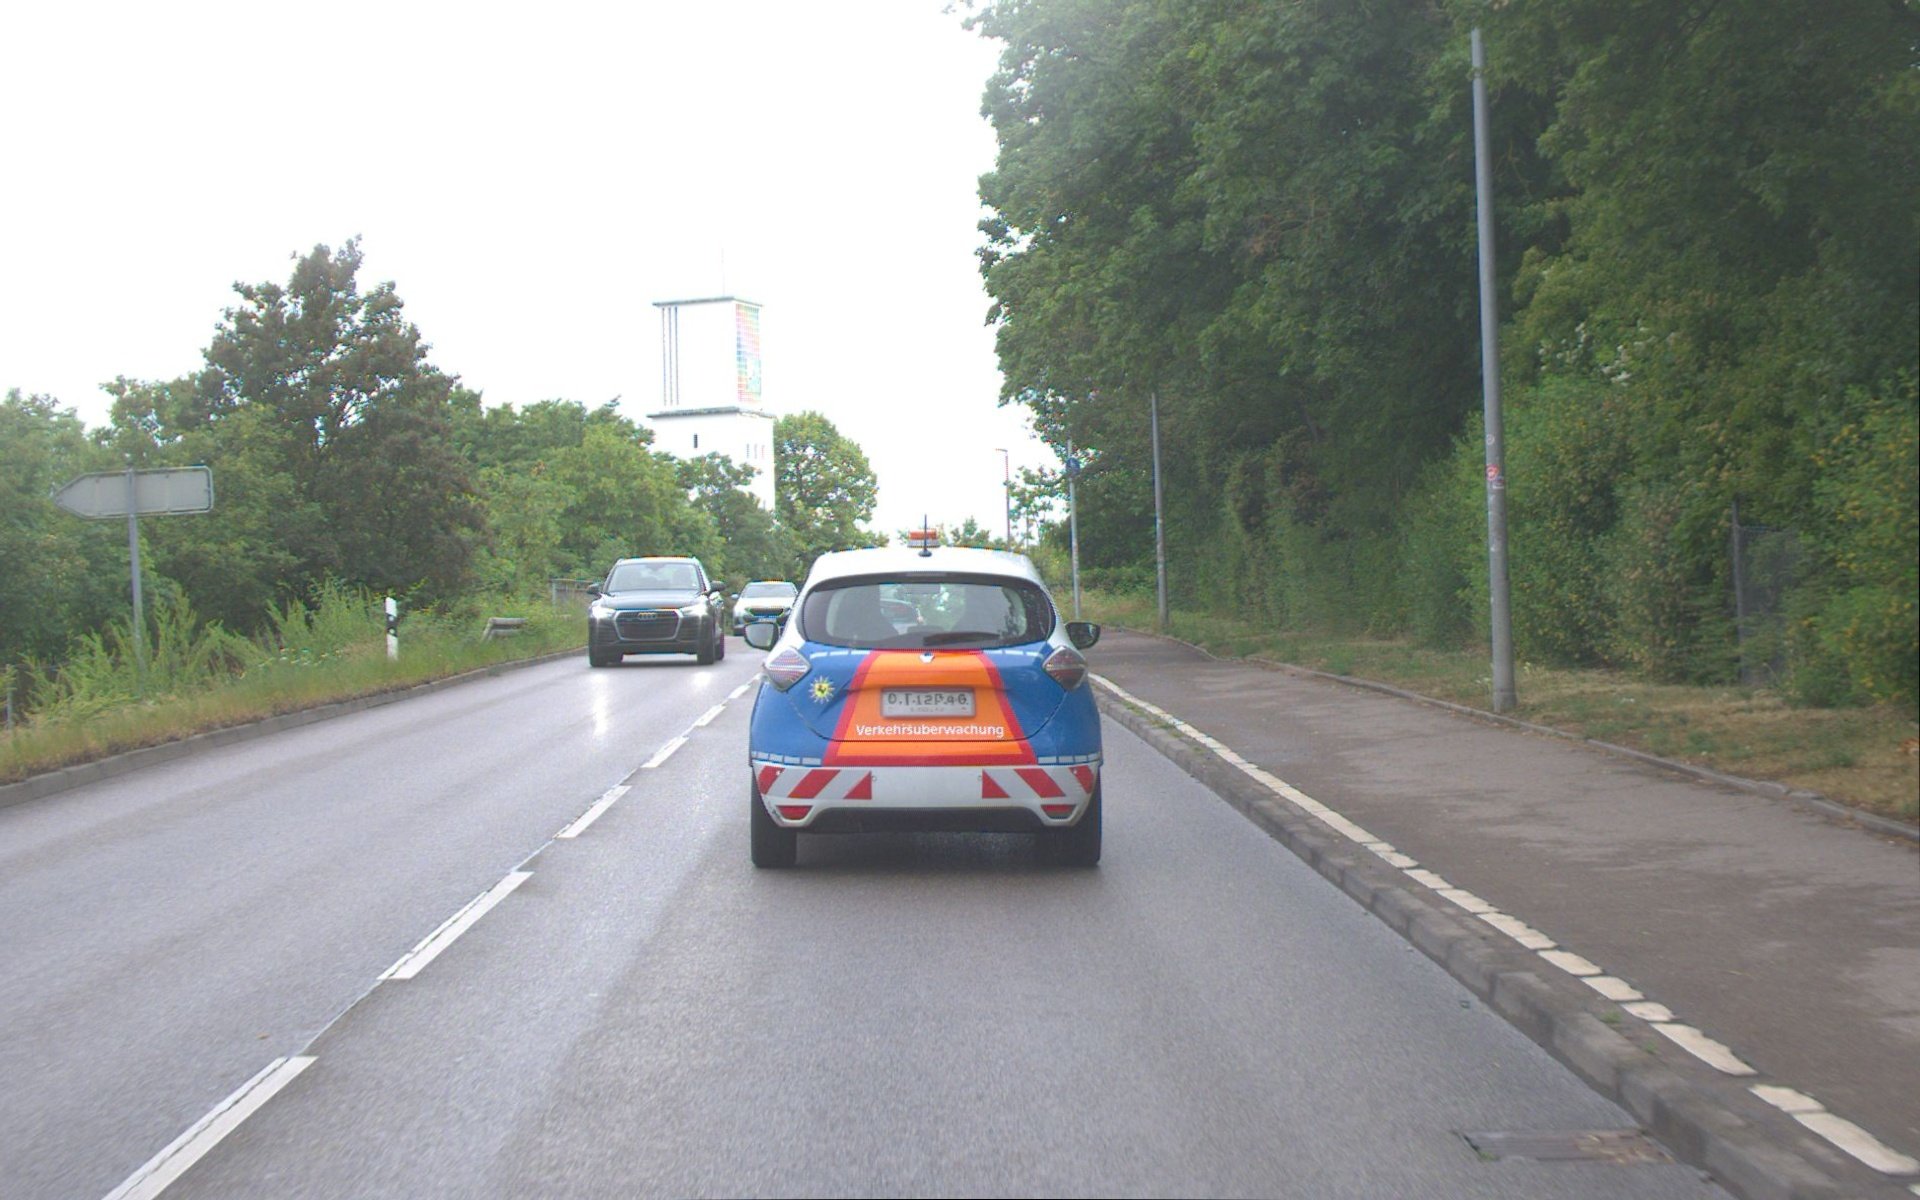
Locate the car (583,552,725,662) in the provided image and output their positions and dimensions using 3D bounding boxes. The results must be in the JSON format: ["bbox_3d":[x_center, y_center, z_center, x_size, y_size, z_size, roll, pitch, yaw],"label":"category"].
[{"bbox_3d":[-4.672,0.075,53.001,1.869,1.580,4.415,-1,1,-1],"label":"car"}]

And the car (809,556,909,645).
[{"bbox_3d":[-1.946,0.010,66.049,1.802,1.584,3.563,-2,0,-2],"label":"car"}]

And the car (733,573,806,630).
[{"bbox_3d":[-5.257,0.028,95.227,1.861,1.498,4.728,-1,1,-1],"label":"car"}]

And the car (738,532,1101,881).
[{"bbox_3d":[-0.221,0.504,17.729,1.657,1.587,3.568,-1,0,-1],"label":"car"}]

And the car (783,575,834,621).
[{"bbox_3d":[-5.329,-0.090,121.190,1.730,1.580,4.081,-1,1,-2],"label":"car"}]
